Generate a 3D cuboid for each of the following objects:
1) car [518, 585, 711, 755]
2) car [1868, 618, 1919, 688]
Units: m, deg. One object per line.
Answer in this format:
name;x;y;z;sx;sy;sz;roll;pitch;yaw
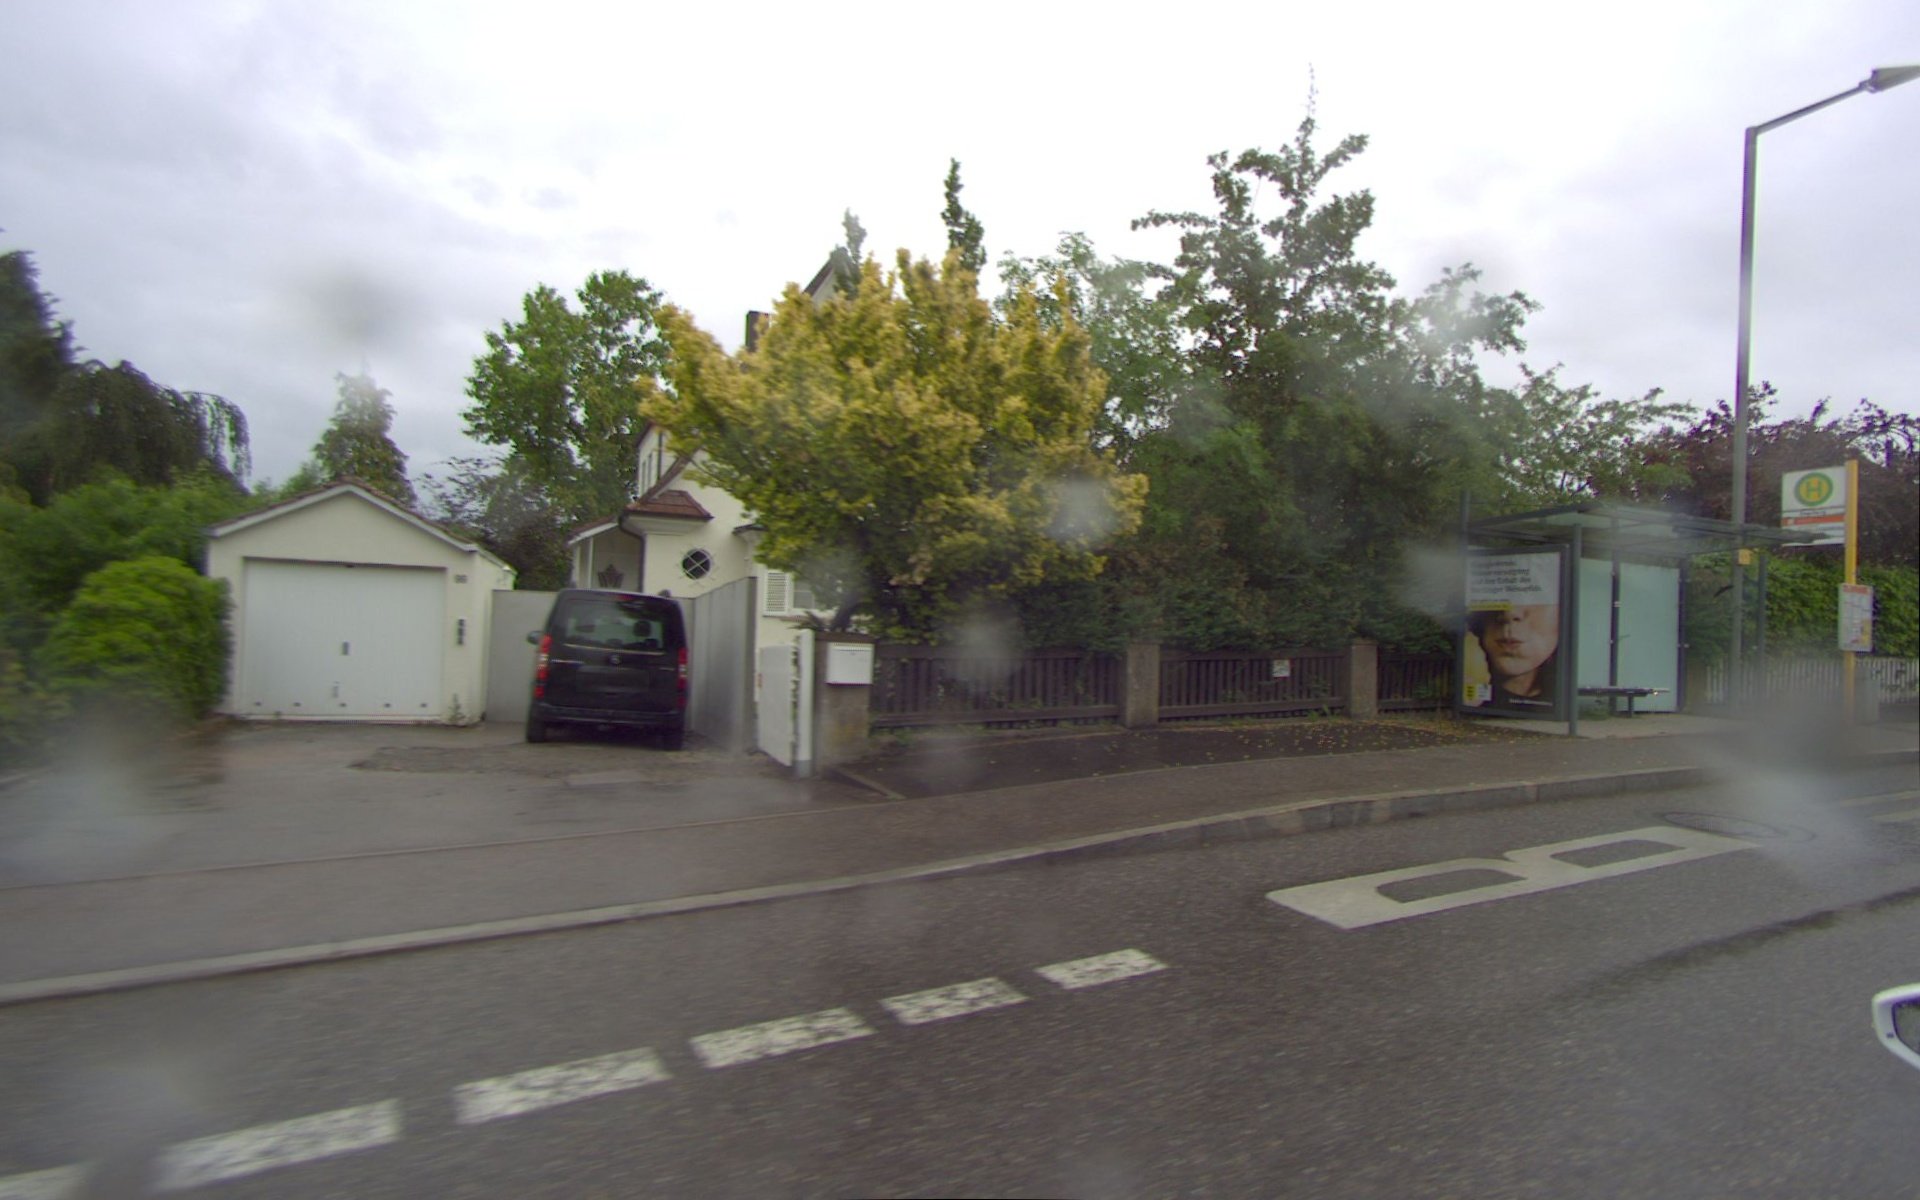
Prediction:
car;-4.470;0.779;12.898;1.970;1.807;3.980;1;-1;-21
car;22.132;1.162;20.874;1.815;1.495;4.525;1;-1;-26
